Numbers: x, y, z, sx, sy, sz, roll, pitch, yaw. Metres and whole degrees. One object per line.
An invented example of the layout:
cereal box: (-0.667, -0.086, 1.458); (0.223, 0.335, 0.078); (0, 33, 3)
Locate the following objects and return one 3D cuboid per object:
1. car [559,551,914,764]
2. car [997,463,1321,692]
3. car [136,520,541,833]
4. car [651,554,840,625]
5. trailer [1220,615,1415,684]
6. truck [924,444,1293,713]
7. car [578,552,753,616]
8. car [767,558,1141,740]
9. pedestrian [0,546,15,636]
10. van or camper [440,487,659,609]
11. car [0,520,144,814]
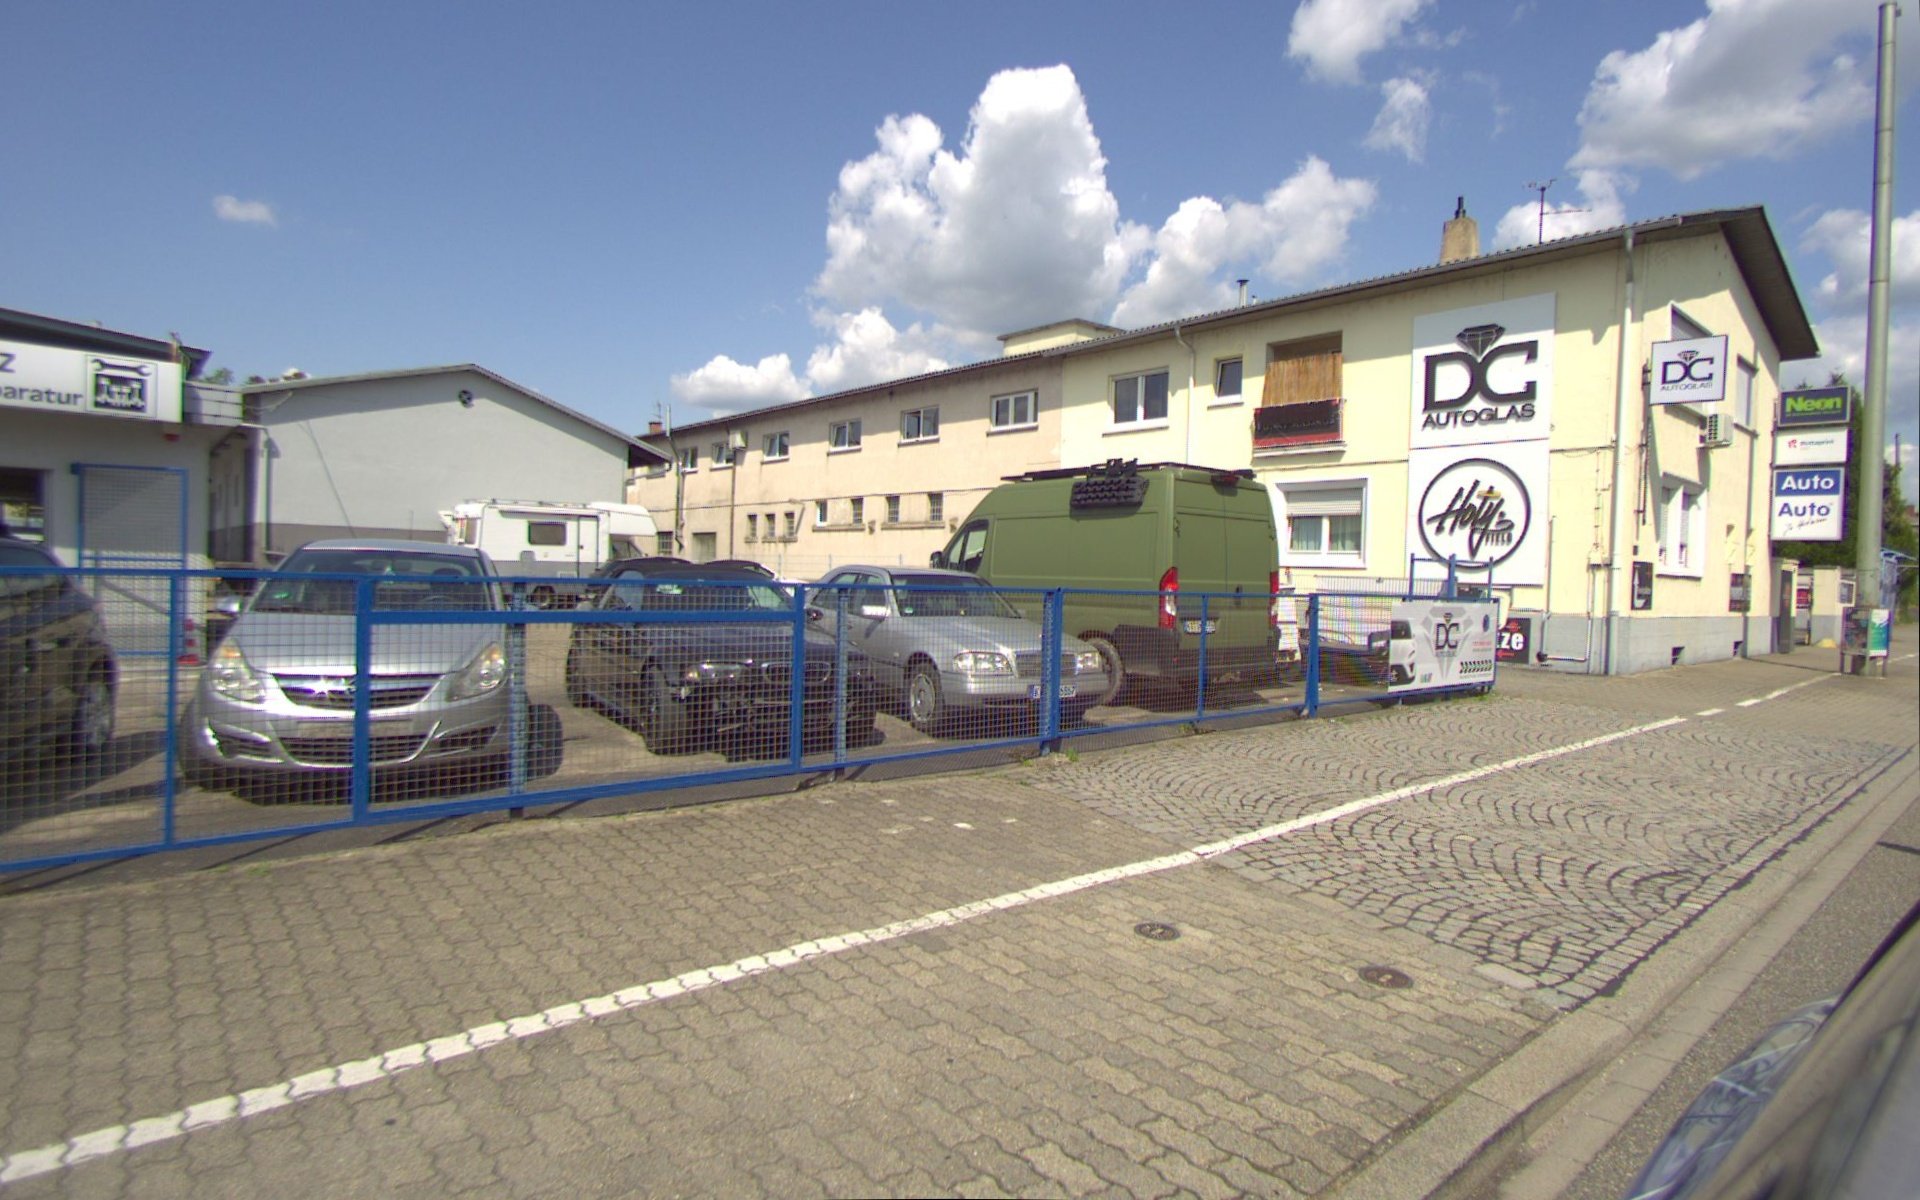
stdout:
car: (-2.129, 0.310, 8.742); (1.768, 1.403, 3.837); (1, 2, -32)
car: (2.608, -0.345, 14.138); (1.771, 2.702, 4.208); (1, 2, -40)
car: (-3.955, 0.302, 7.098); (1.766, 1.497, 4.158); (1, 2, -24)
car: (-4.930, -0.246, 23.515); (3.939, 1.497, 1.719); (0, 2, -41)
trailer: (5.078, 0.670, 14.524); (1.245, 0.776, 2.330); (0, 2, -39)
truck: (1.619, -0.284, 12.141); (2.033, 2.639, 3.996); (1, 2, -40)
car: (-7.483, -0.411, 25.885); (3.939, 1.497, 1.719); (0, 2, -41)
car: (-0.301, 0.320, 10.201); (1.768, 1.413, 4.216); (1, 2, -33)
pedestrian: (-13.263, -0.129, 13.836); (0.479, 1.228, 0.501); (1, 1, -42)
van or camper: (-11.012, -1.324, 27.364); (4.971, 2.999, 2.284); (0, 2, -42)
car: (-5.751, 0.324, 5.029); (1.685, 1.497, 4.012); (1, 2, -25)
